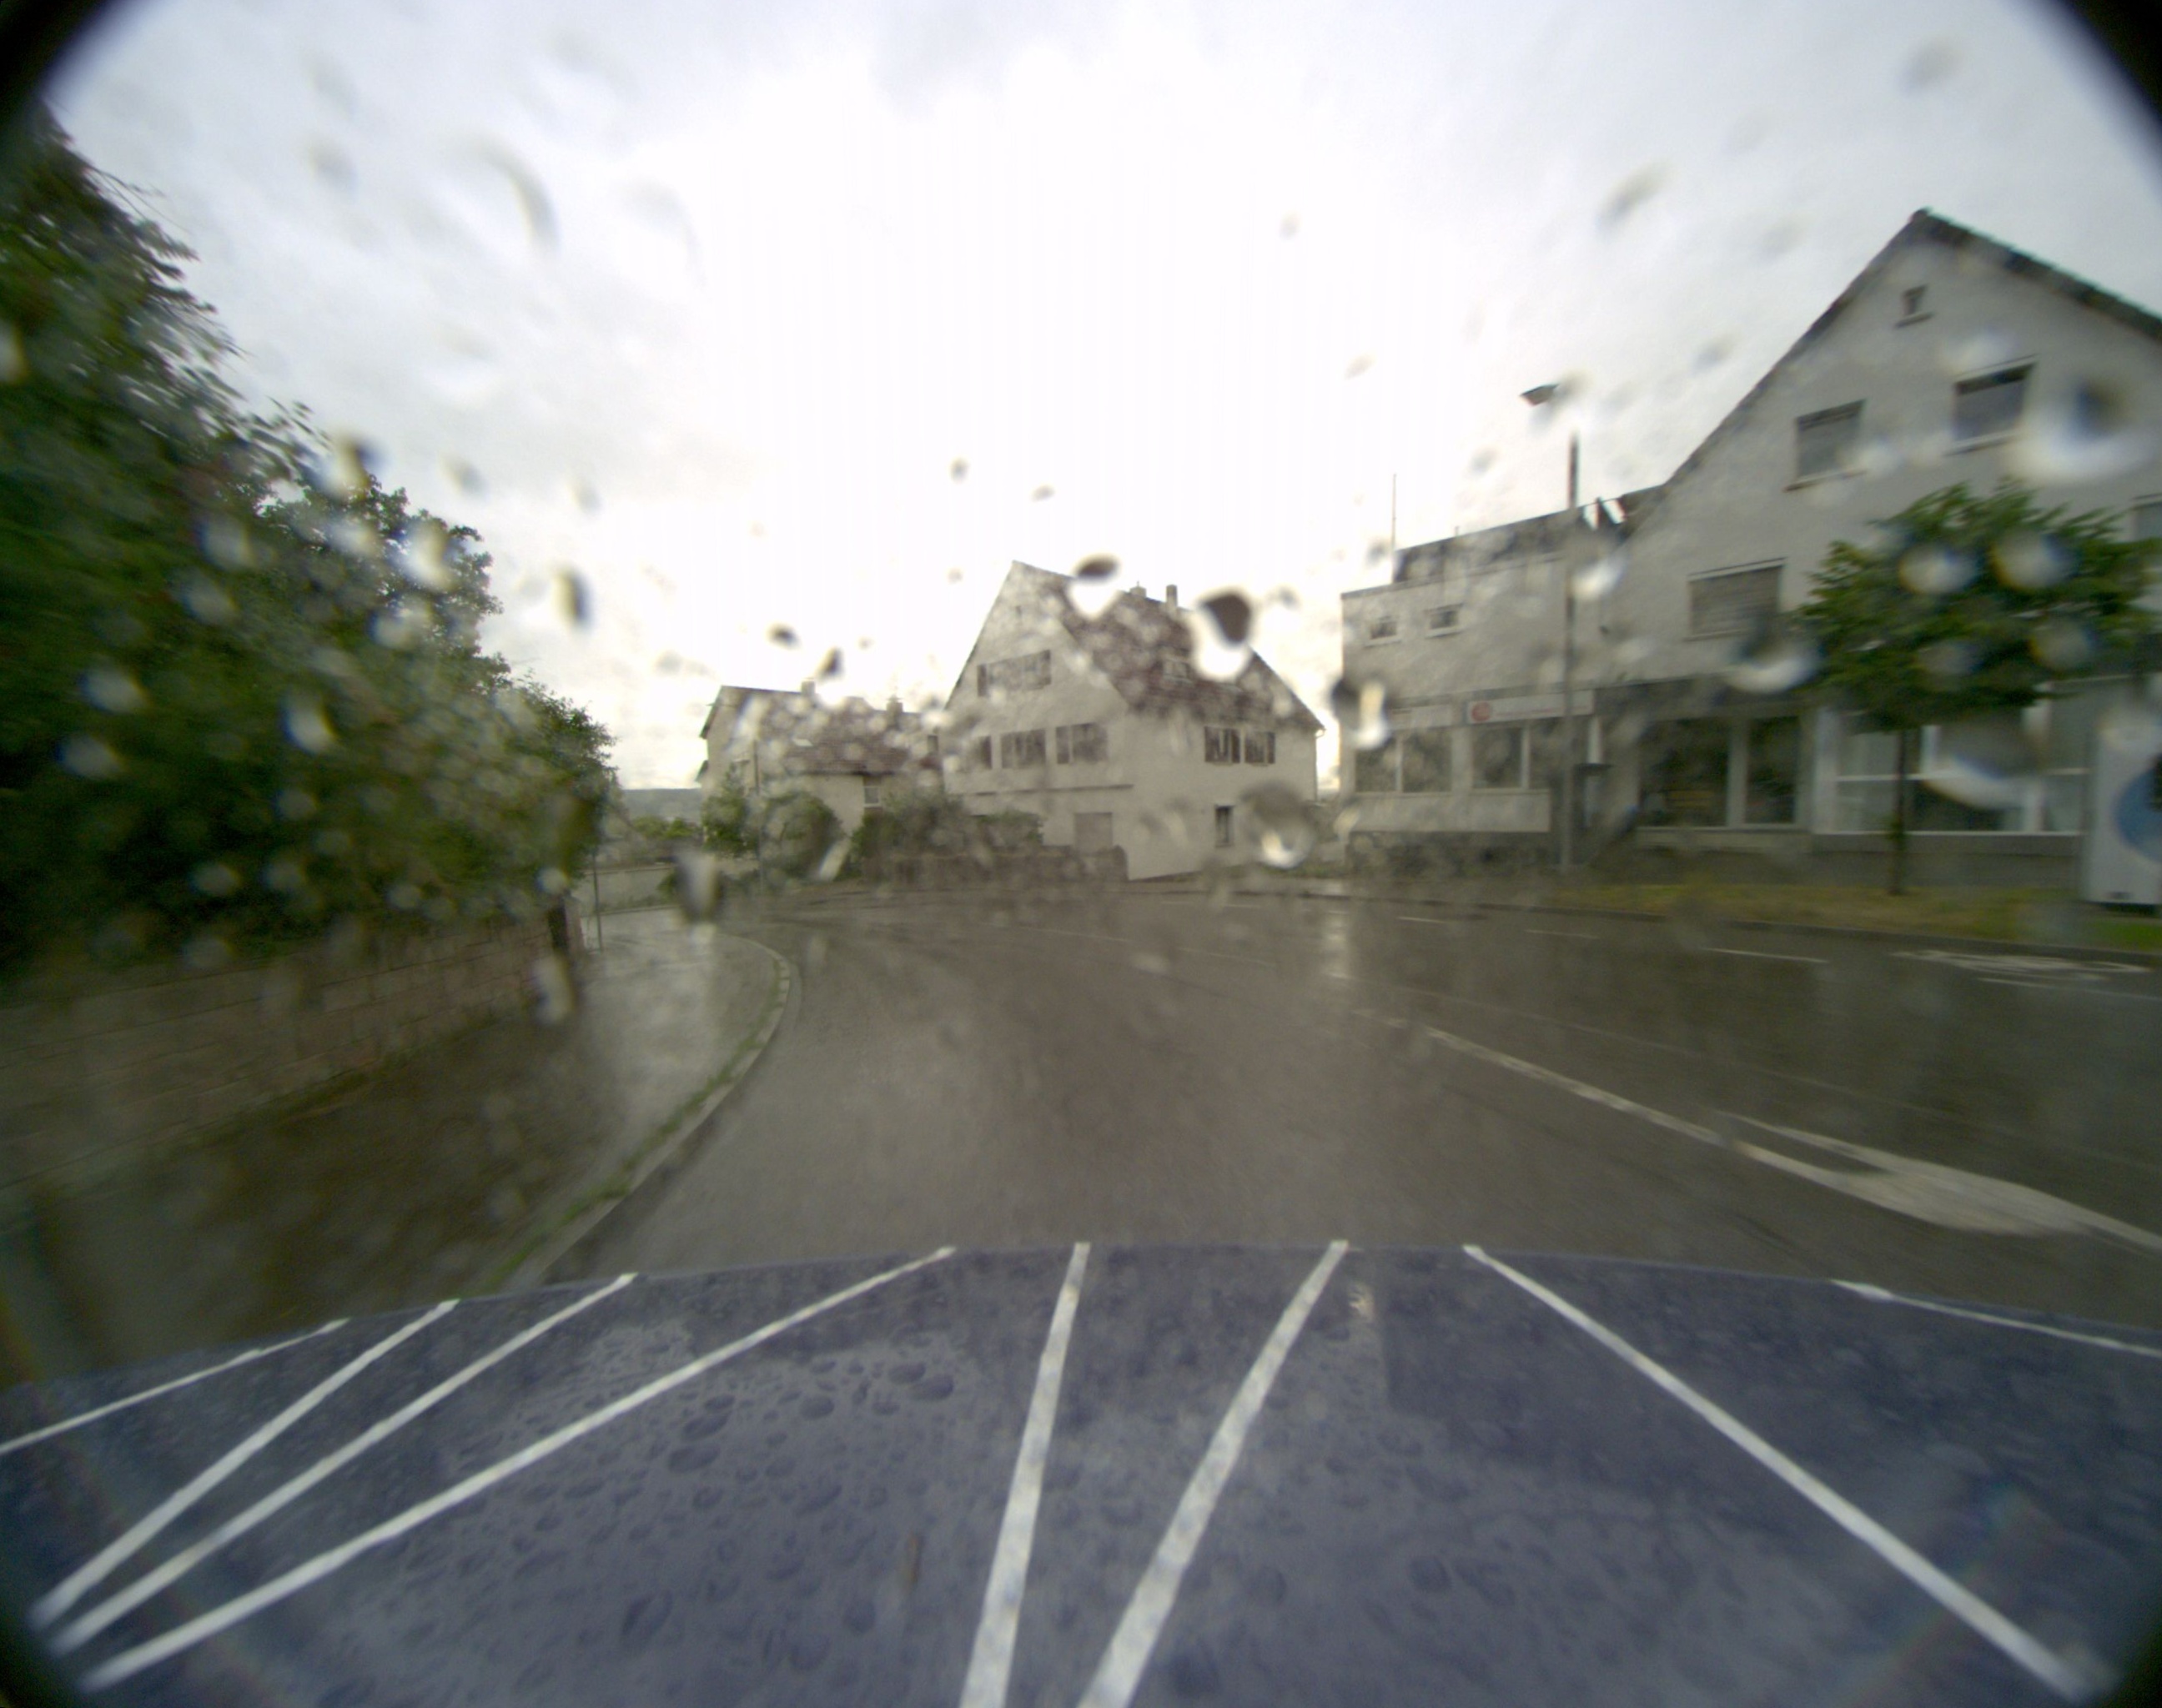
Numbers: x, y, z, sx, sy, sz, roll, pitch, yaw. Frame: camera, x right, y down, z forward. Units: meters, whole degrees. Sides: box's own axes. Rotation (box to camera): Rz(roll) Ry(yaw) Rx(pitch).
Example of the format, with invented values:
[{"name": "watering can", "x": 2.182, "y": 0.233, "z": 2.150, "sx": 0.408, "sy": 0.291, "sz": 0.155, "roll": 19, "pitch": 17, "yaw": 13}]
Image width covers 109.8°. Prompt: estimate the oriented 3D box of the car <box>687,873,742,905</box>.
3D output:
[{"name": "car", "x": -25.471, "y": 2.404, "z": 52.750, "sx": 4.098, "sy": 1.990, "sz": 1.978, "roll": 0, "pitch": 2, "yaw": 41}]
